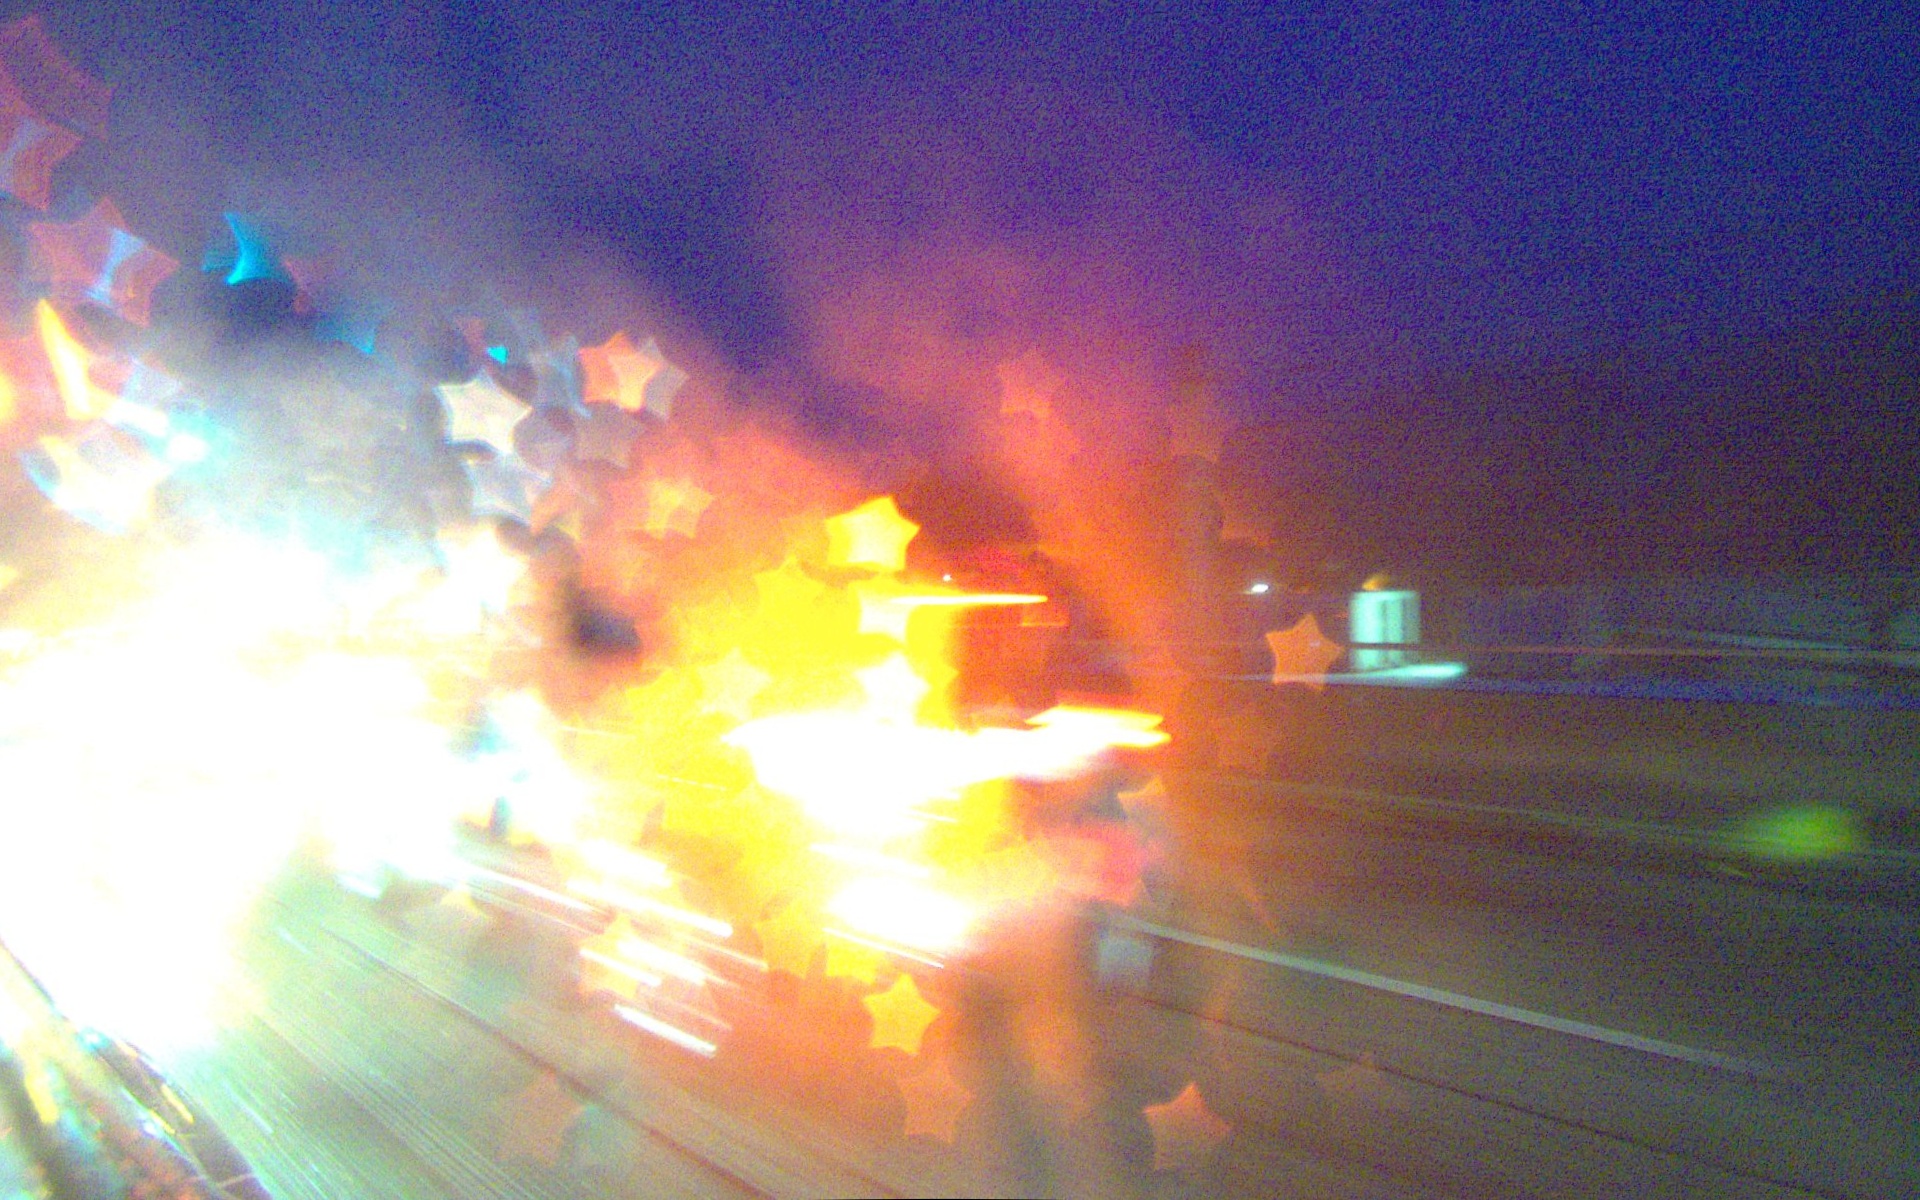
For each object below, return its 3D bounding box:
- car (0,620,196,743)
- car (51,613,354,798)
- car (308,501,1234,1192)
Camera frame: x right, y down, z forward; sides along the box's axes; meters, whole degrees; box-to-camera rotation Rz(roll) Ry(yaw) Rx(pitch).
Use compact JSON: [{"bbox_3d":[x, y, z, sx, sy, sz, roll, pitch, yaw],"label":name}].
[{"bbox_3d":[-12.268,1.050,14.244,3.630,1.484,1.652,-2,-1,40],"label":"car"},{"bbox_3d":[-7.687,0.912,10.137,3.881,1.484,1.605,-2,-1,40],"label":"car"},{"bbox_3d":[-1.232,0.646,4.639,4.443,1.681,1.825,-2,-1,41],"label":"car"}]
